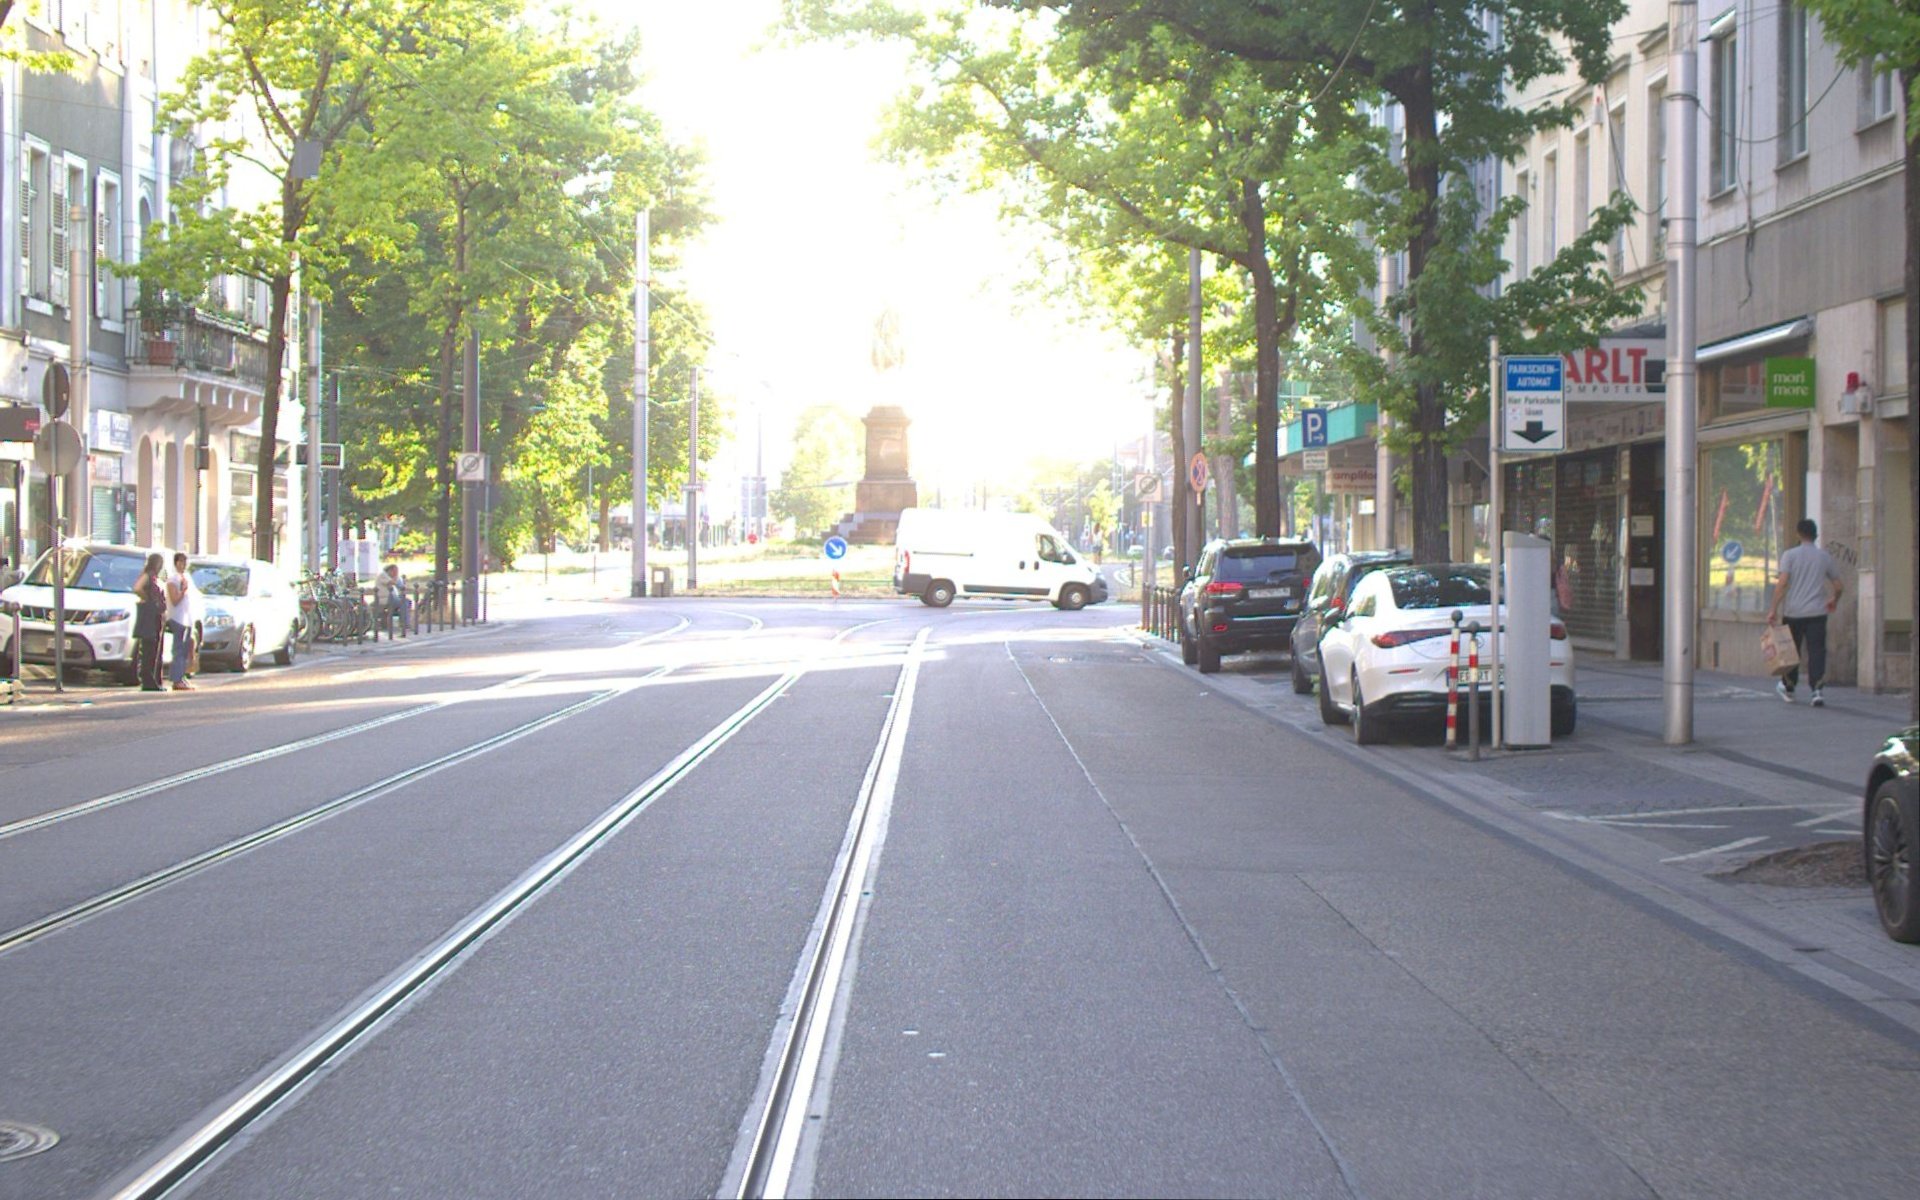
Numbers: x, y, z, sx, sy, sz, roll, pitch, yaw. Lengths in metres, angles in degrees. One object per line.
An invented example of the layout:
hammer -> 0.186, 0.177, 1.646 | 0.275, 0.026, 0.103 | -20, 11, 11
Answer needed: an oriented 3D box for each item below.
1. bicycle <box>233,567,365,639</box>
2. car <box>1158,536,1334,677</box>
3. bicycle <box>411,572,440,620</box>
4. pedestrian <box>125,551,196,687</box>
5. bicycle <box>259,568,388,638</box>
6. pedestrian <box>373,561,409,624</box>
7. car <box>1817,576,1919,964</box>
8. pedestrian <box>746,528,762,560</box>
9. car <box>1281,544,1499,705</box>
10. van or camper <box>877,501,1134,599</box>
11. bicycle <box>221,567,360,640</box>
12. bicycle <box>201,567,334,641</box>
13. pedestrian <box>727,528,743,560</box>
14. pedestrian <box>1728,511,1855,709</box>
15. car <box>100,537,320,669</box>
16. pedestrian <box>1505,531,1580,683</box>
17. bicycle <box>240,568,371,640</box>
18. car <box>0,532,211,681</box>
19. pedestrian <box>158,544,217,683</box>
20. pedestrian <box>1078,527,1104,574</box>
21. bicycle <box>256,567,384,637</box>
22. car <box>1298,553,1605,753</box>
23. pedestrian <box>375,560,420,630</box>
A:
bicycle -> -10.785, 0.051, 56.106 | 2.023, 1.101, 0.501 | 2, 0, -25
car -> 3.902, 0.049, 47.620 | 1.938, 1.753, 4.680 | -3, 1, 0
bicycle -> -10.842, -0.092, 69.795 | 0.336, 0.942, 1.510 | 0, 1, 0
pedestrian -> -8.890, 0.207, 38.247 | 0.620, 1.504, 0.729 | 0, 0, 1
bicycle -> -10.668, 0.054, 57.607 | 2.024, 1.101, 0.501 | 2, 0, 3
pedestrian -> -10.935, -0.151, 66.130 | 0.591, 1.190, 0.642 | 1, 1, -3
car -> 4.616, 0.658, 12.243 | 1.833, 1.473, 4.762 | -2, 1, -1
pedestrian -> -10.609, -2.877, 176.798 | 0.769, 1.600, 0.638 | 0, 1, -7
car -> 4.670, 0.228, 37.851 | 1.776, 1.585, 3.892 | -3, 1, -1
van or camper -> 1.140, -1.292, 88.667 | 6.297, 2.464, 2.616 | 0, 1, -9
bicycle -> -10.806, 0.051, 55.503 | 2.108, 1.101, 0.501 | 2, 0, -25
bicycle -> -10.989, 0.065, 54.566 | 1.945, 1.101, 0.567 | 2, 0, -25
pedestrian -> -11.601, -2.889, 177.204 | 0.769, 1.600, 0.638 | 0, 1, -7
pedestrian -> 7.603, 0.081, 31.456 | 0.858, 1.747, 0.933 | -3, 1, 0
car -> -10.062, -0.001, 46.483 | 1.836, 1.575, 4.702 | 4, 1, 0
pedestrian -> 6.557, 0.069, 38.717 | 0.643, 1.664, 0.786 | -3, 1, 0
bicycle -> -10.803, 0.068, 56.728 | 2.023, 1.101, 0.501 | 2, 0, -25
car -> -10.410, 0.041, 41.264 | 1.836, 1.575, 4.116 | 4, 1, 0
pedestrian -> -8.769, 0.151, 39.028 | 0.521, 1.564, 0.634 | 0, 0, 1
pedestrian -> 4.526, -1.707, 118.707 | 0.637, 1.600, 0.770 | 1, 1, 26
bicycle -> -10.832, 0.040, 58.194 | 2.024, 1.101, 0.501 | 2, 0, 3
car -> 4.196, 0.396, 30.099 | 1.993, 1.493, 4.680 | -3, 1, 1
pedestrian -> -10.551, -0.098, 64.488 | 0.728, 1.286, 0.857 | 1, 1, -3
